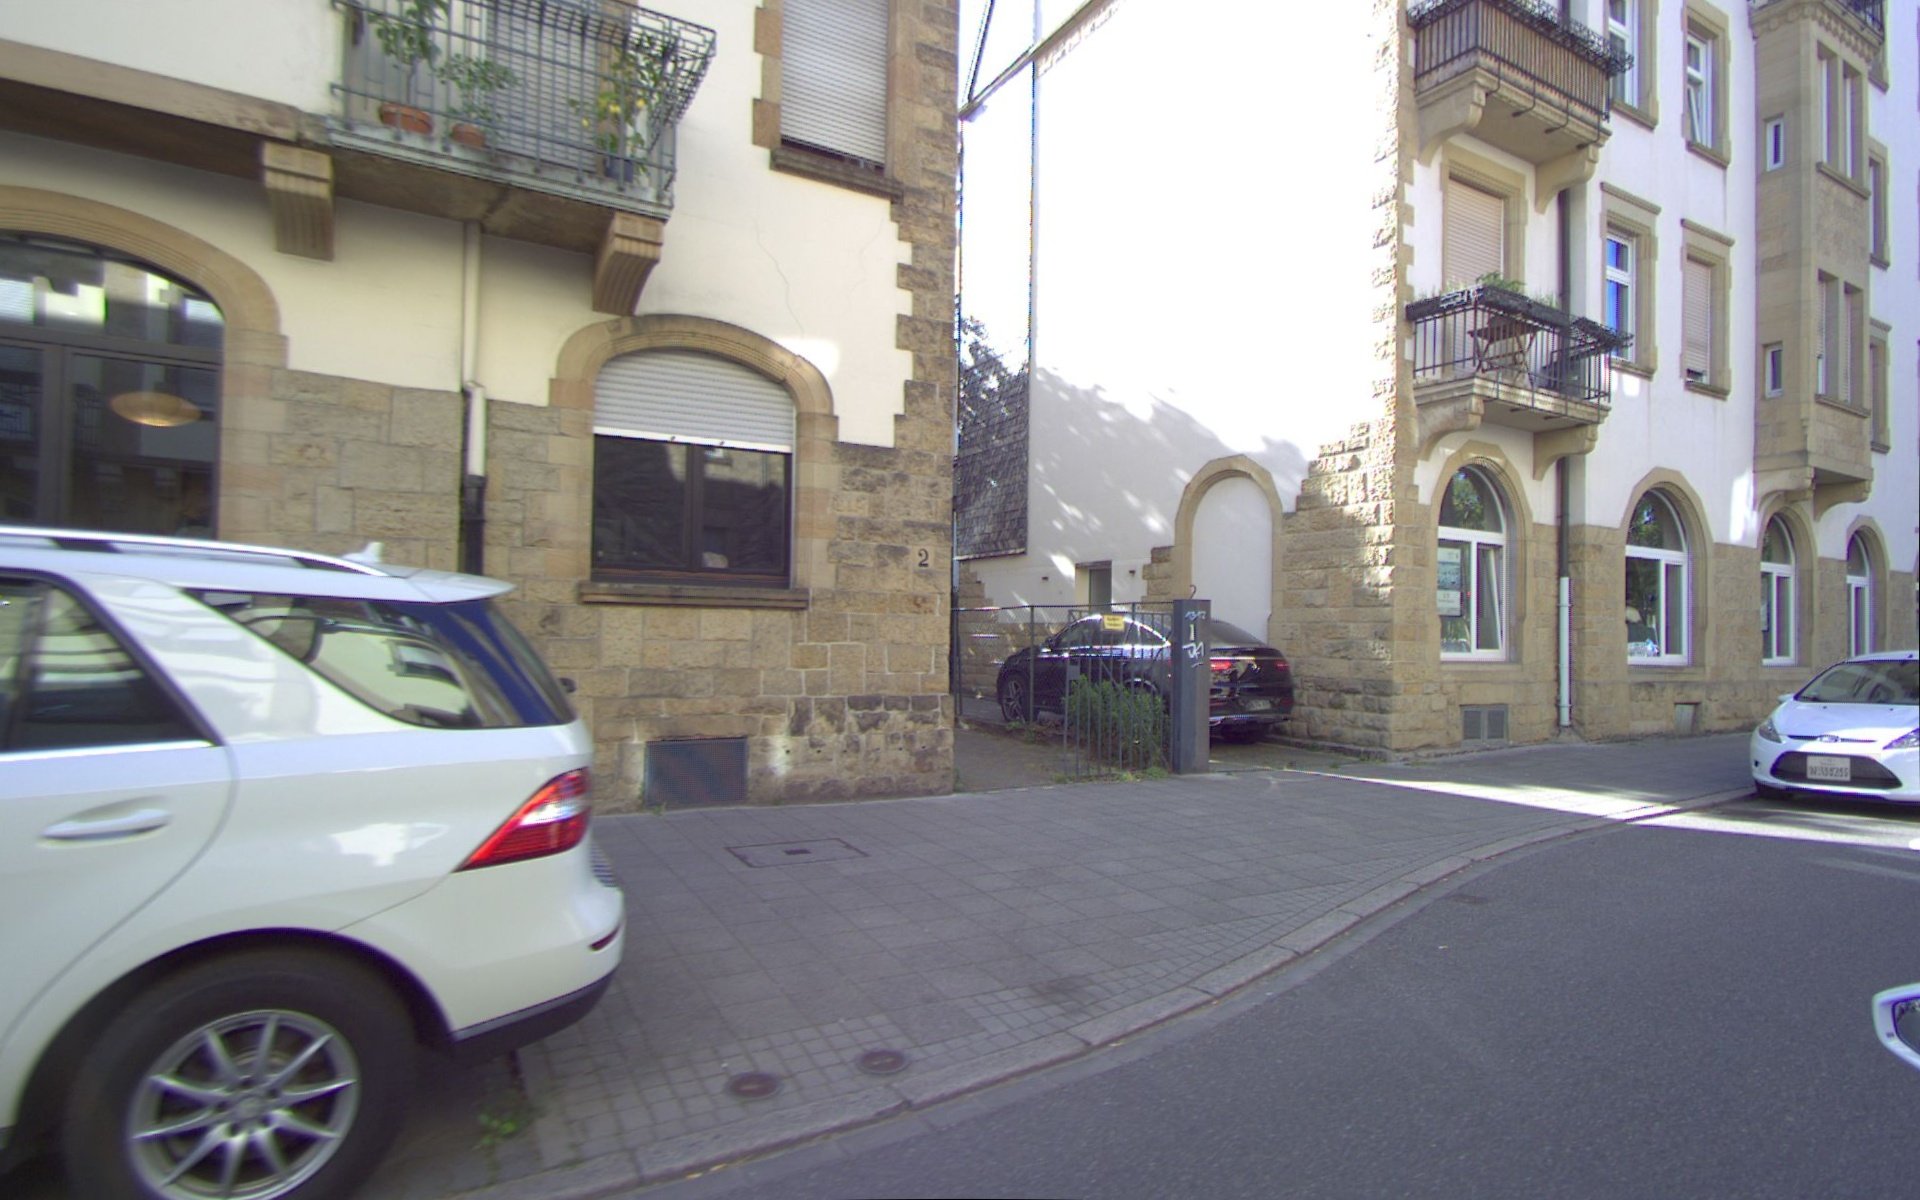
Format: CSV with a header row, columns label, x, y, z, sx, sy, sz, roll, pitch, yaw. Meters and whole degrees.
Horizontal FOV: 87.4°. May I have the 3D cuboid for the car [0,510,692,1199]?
label,x,y,z,sx,sy,sz,roll,pitch,yaw
car,-3.269,0.642,2.601,4.667,1.745,1.884,1,1,-28

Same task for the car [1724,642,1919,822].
label,x,y,z,sx,sy,sz,roll,pitch,yaw
car,9.421,1.187,9.887,3.687,1.483,1.628,2,-2,-28

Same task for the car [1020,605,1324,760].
label,x,y,z,sx,sy,sz,roll,pitch,yaw
car,2.686,1.004,13.590,1.887,1.750,3.949,1,-2,-31
